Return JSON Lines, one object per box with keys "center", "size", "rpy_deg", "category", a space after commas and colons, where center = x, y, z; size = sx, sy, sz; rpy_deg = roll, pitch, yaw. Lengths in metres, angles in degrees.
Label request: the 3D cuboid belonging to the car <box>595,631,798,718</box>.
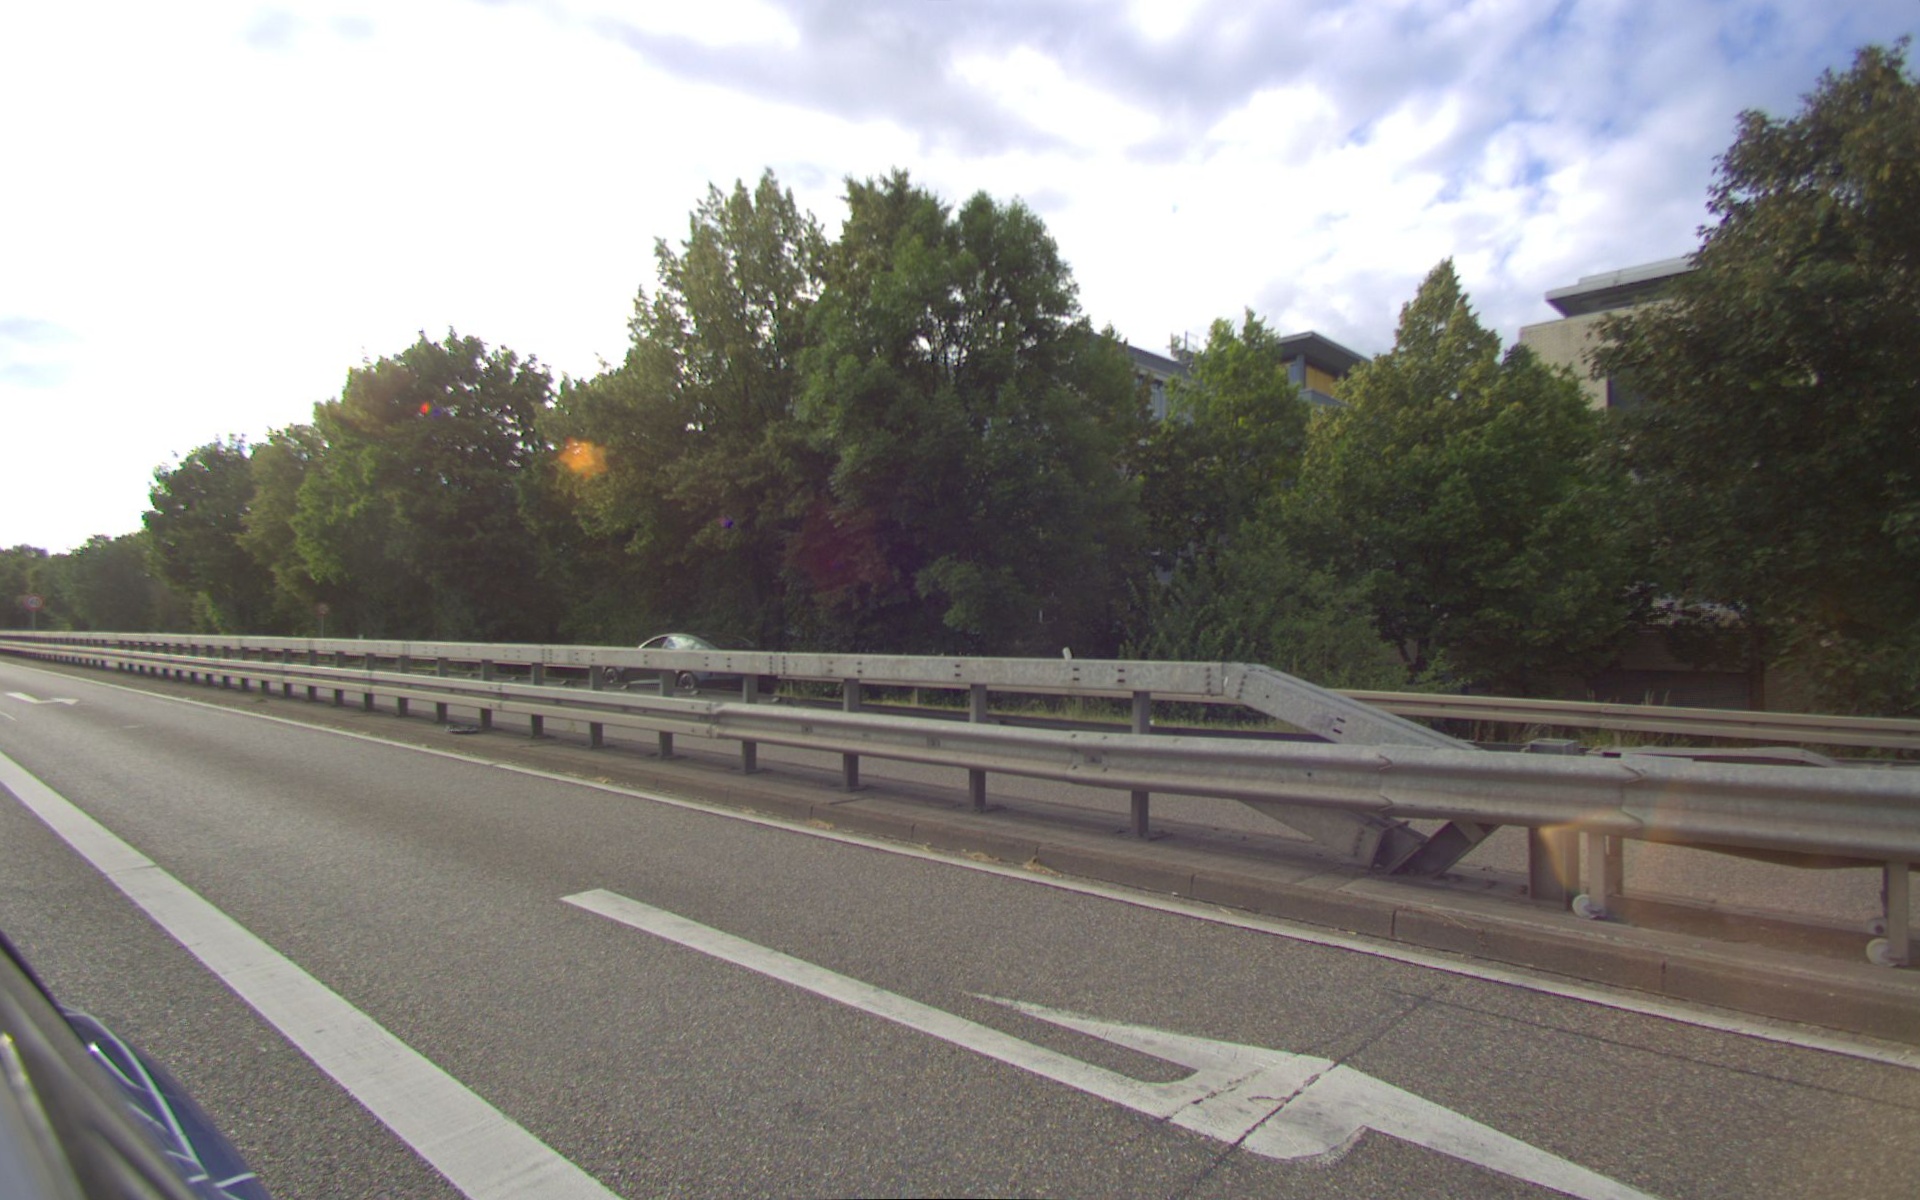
{"center": [-5.469, 1.426, 20.710], "size": [4.372, 1.468, 1.895], "rpy_deg": [-1, 0, 42], "category": "car"}
